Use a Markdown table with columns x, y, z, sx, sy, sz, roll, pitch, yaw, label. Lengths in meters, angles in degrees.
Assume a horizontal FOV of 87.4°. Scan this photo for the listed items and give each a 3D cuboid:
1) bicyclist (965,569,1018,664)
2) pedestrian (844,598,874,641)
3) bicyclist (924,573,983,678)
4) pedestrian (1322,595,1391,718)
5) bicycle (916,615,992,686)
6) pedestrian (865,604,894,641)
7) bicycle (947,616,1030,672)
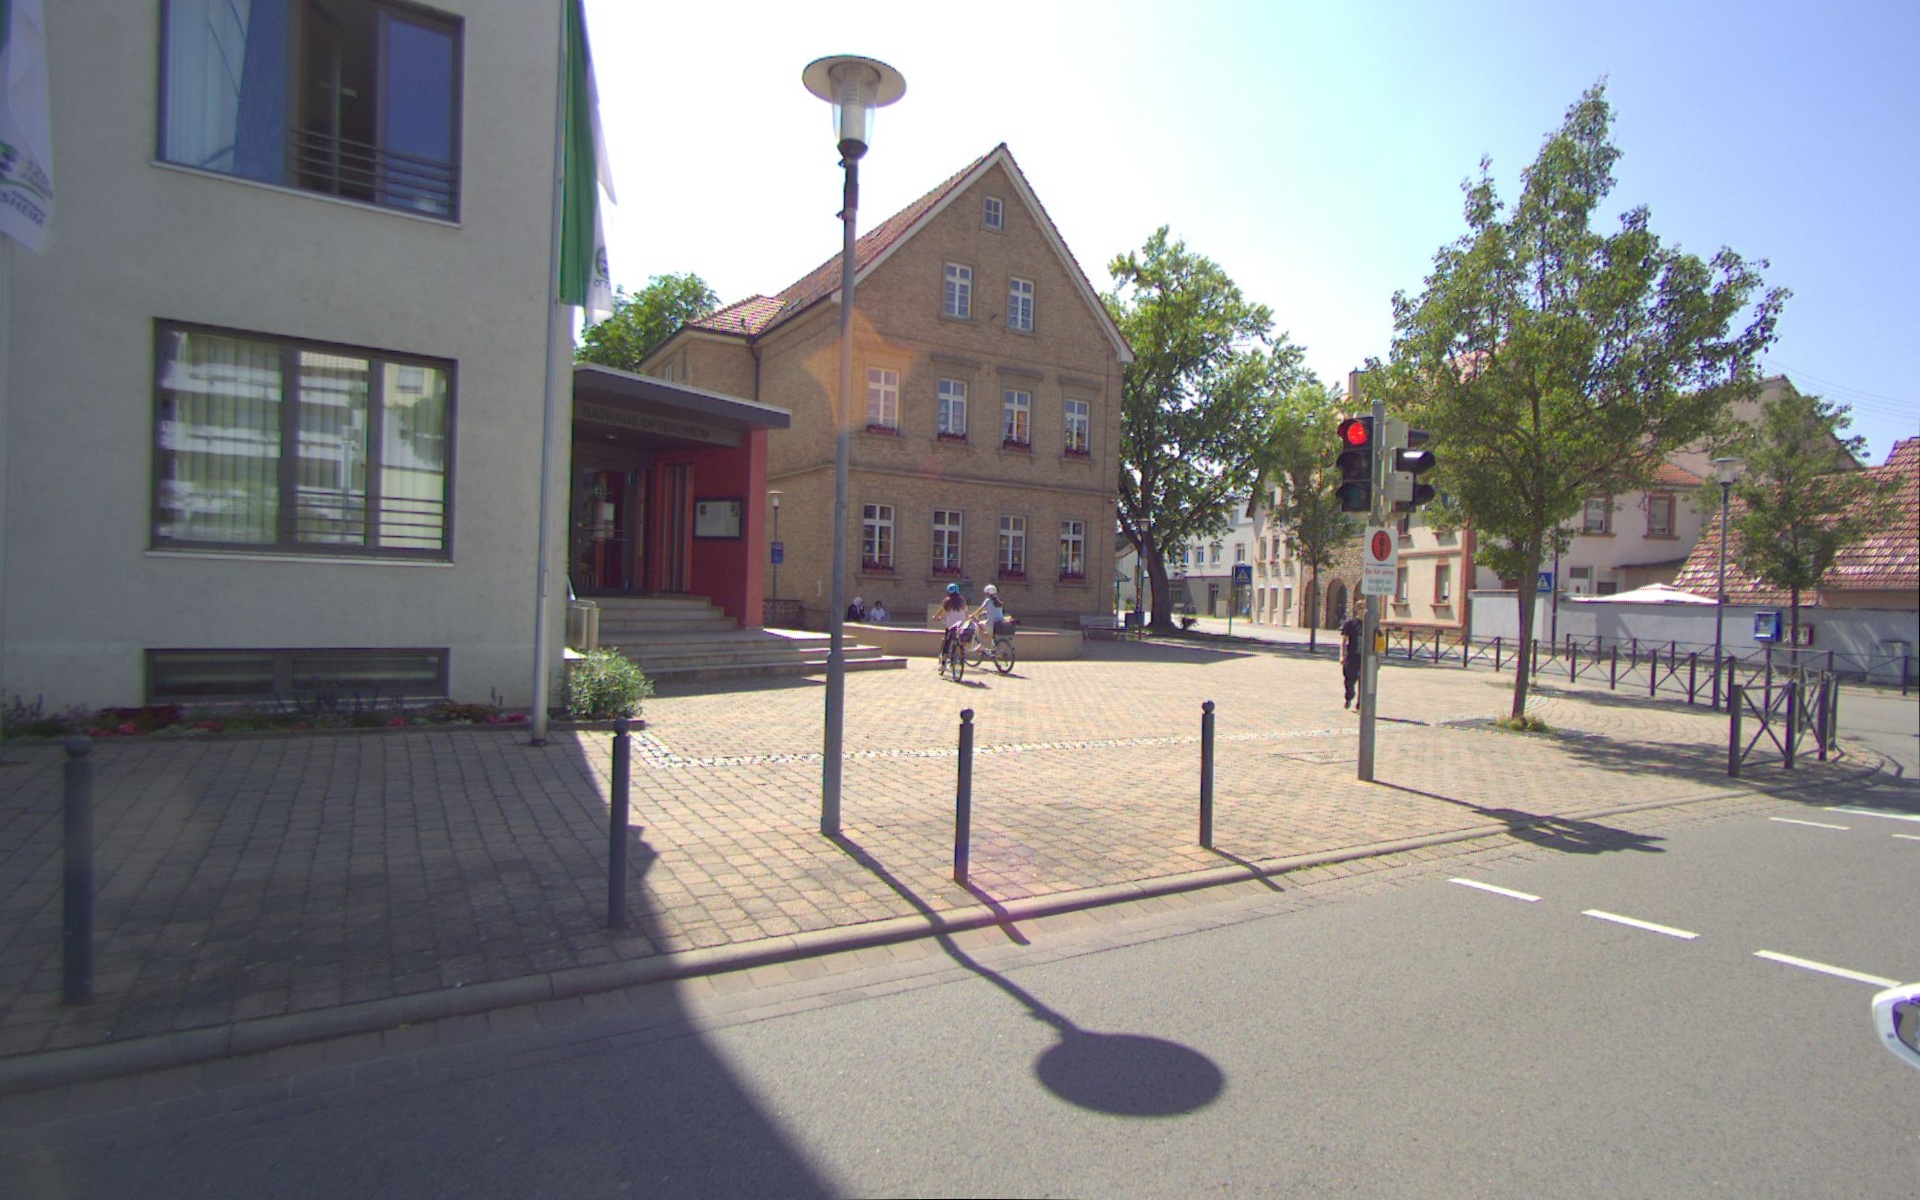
| x | y | z | sx | sy | sz | roll | pitch | yaw | label |
| --- | --- | --- | --- | --- | --- | --- | --- | --- | --- |
| 0.562 | 0.301 | 18.237 | 0.663 | 1.686 | 0.756 | 1 | -1 | -29 | bicyclist |
| -2.870 | 0.540 | 28.405 | 0.611 | 1.186 | 0.636 | 2 | 0 | -29 | pedestrian |
| -0.113 | 0.397 | 16.163 | 0.660 | 1.602 | 0.759 | 3 | 1 | -16 | bicyclist |
| 5.723 | 0.795 | 14.541 | 0.798 | 1.676 | 0.851 | 3 | 1 | 19 | pedestrian |
| -0.128 | 0.789 | 16.125 | 0.665 | 0.970 | 1.889 | 3 | 1 | -16 | bicycle |
| -2.314 | 0.645 | 28.802 | 0.611 | 1.041 | 0.636 | 2 | 0 | -29 | pedestrian |
| 0.495 | 0.783 | 18.339 | 0.667 | 0.970 | 1.882 | 1 | -1 | -28 | bicycle |
